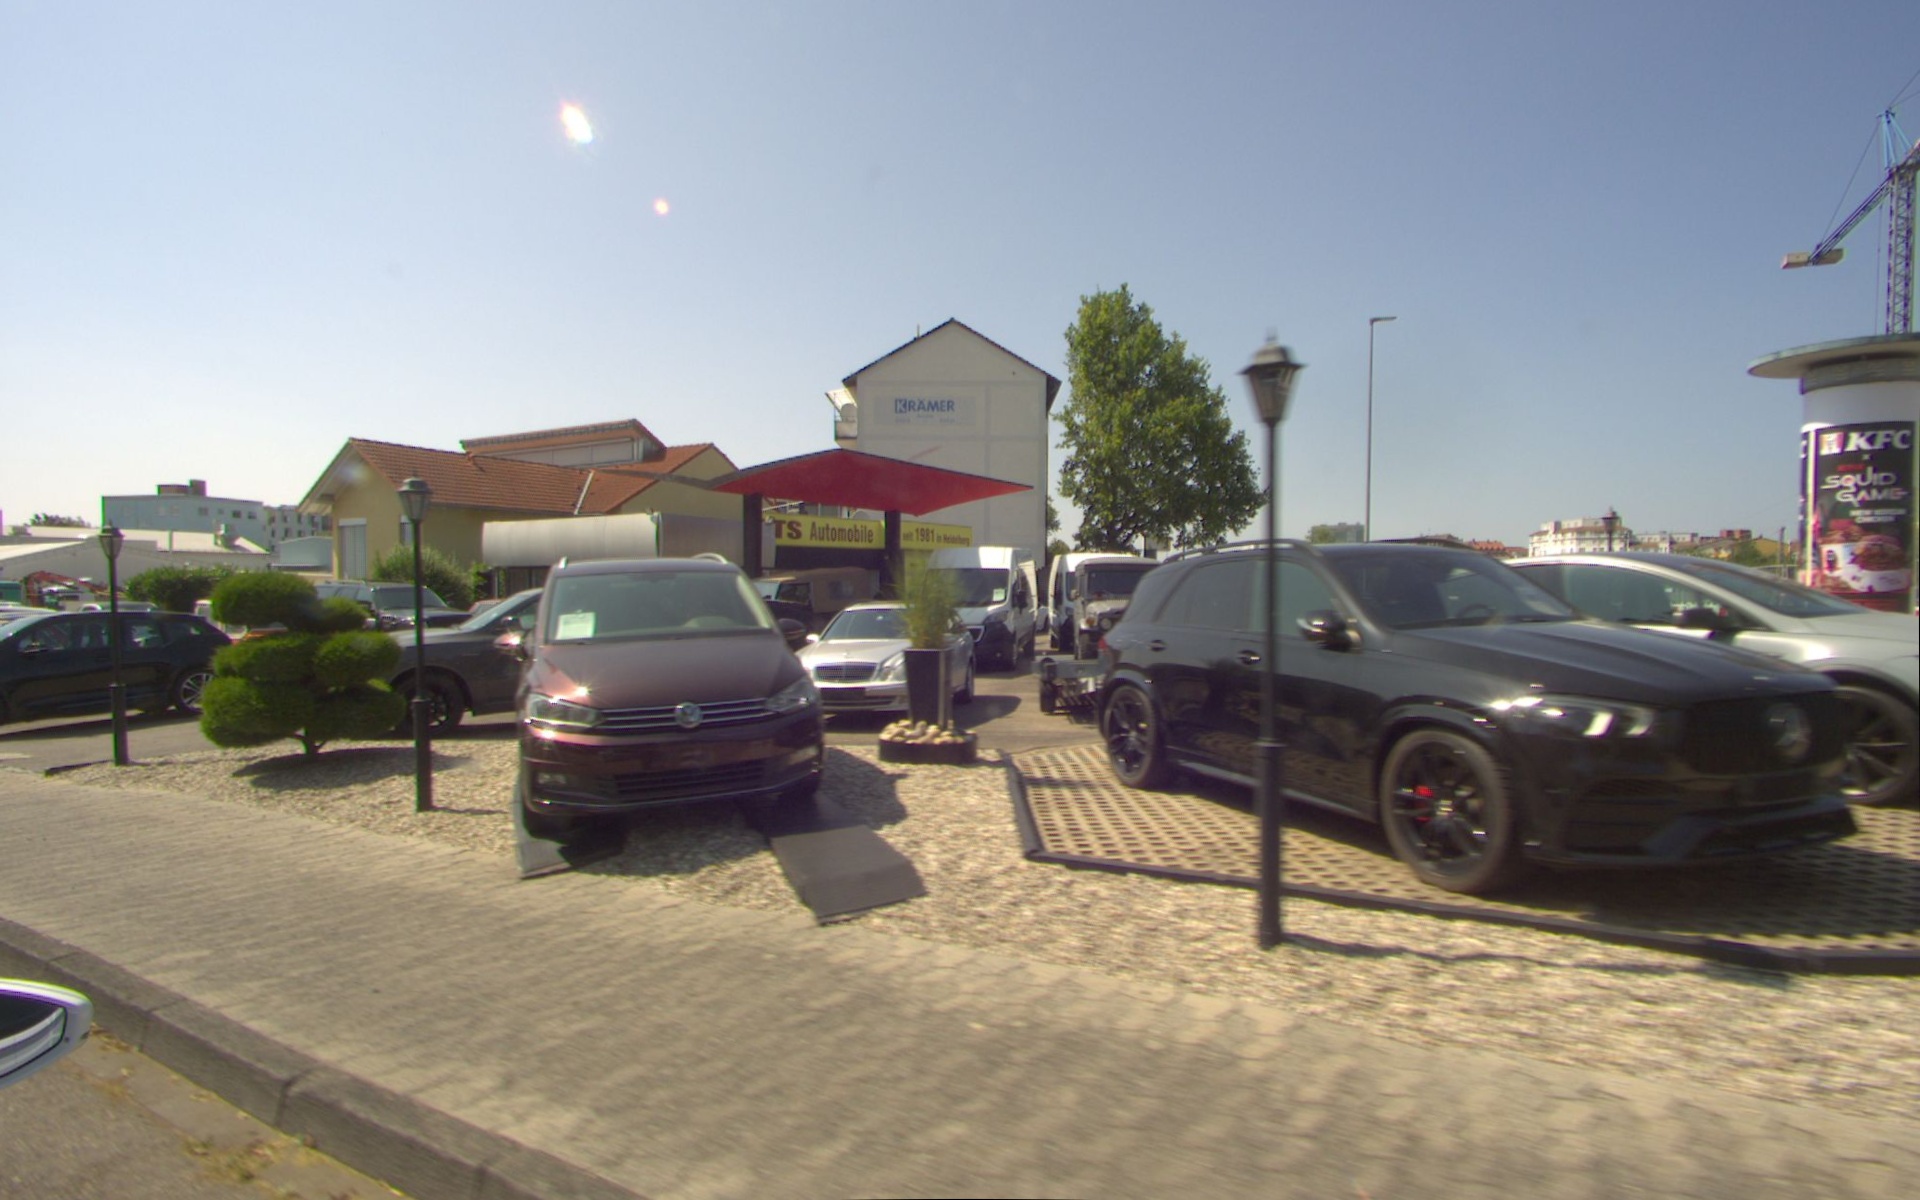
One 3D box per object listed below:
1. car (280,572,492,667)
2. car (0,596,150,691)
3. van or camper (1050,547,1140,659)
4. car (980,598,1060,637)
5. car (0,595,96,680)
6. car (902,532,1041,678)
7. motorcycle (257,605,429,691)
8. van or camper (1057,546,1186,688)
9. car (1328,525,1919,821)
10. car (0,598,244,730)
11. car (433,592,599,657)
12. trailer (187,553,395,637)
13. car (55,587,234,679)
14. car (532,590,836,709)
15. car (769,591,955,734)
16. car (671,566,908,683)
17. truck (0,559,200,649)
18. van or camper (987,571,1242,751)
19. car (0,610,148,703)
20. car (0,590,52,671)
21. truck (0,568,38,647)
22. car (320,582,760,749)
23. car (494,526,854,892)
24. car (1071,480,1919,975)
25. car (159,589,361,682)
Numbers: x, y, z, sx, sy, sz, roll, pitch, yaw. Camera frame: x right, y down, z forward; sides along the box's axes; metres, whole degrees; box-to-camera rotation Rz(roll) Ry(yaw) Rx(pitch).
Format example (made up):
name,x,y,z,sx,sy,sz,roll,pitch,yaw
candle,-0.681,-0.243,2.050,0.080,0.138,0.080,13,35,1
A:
name,x,y,z,sx,sy,sz,roll,pitch,yaw
car,-13.461,0.419,23.449,4.830,2.041,1.992,0,1,27
car,-16.989,0.779,17.163,1.867,1.517,4.399,-1,2,26
van or camper,3.224,0.057,24.680,1.961,2.469,4.933,0,1,5
car,2.384,0.640,39.253,1.731,1.399,3.473,2,2,30
car,-19.218,0.775,18.567,1.867,1.549,4.399,-1,2,26
car,0.446,0.116,21.801,2.216,2.714,6.016,0,0,9
motorcycle,-11.545,0.839,18.882,0.993,1.452,2.684,0,1,21
van or camper,3.045,0.287,19.022,2.071,2.291,5.504,0,0,9
car,5.507,0.425,7.782,1.989,1.715,4.789,-1,0,-32
car,-12.574,0.825,13.984,1.733,1.646,3.796,0,1,30
car,-11.800,0.606,26.629,3.936,1.617,1.992,0,1,27
trailer,-33.911,-0.256,51.150,3.028,3.915,8.304,0,1,37
car,-18.323,0.719,22.493,3.733,1.884,1.990,-1,-1,31
car,-4.558,0.743,16.881,4.520,1.657,1.911,-2,0,-37
car,-1.088,0.690,13.104,1.888,1.554,4.207,-1,0,2
car,-3.456,0.393,20.843,4.526,2.180,1.908,-2,3,-41
truck,-38.951,0.158,44.115,2.912,3.659,8.254,1,0,34
van or camper,1.557,0.579,11.778,1.961,1.706,4.292,-1,0,-6
car,-15.099,0.878,15.549,1.535,1.353,3.543,0,1,30
car,-21.228,0.641,19.881,1.815,1.675,4.397,0,1,29
truck,-44.741,0.190,42.703,2.490,3.466,7.509,1,-2,31
car,-5.256,0.680,12.847,4.929,1.786,1.913,-1,1,-33
car,-2.321,0.527,7.258,1.823,1.806,4.274,-1,1,-24
car,2.630,0.463,6.244,1.982,1.803,4.806,-1,0,-19
car,-14.550,0.662,20.792,3.941,1.751,1.990,0,1,31
